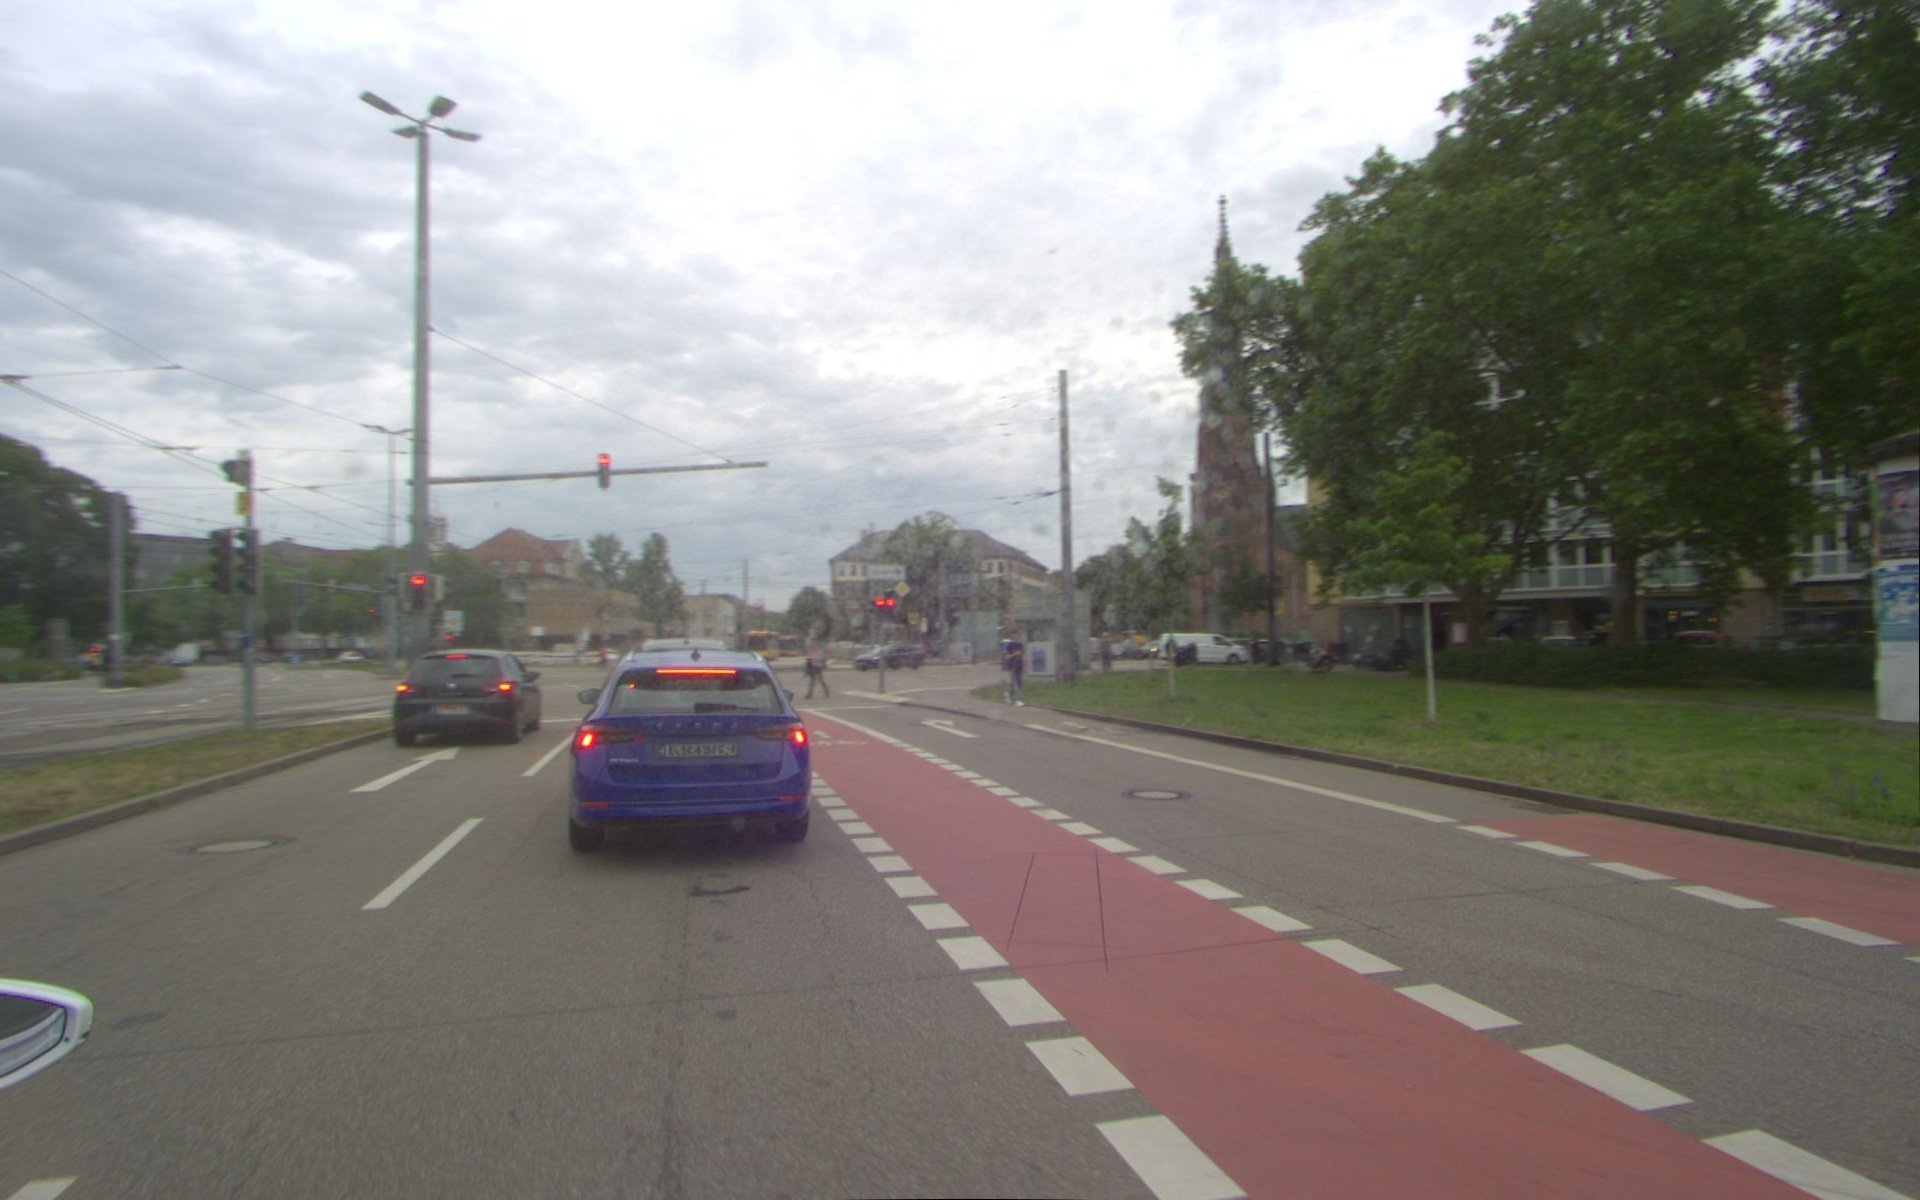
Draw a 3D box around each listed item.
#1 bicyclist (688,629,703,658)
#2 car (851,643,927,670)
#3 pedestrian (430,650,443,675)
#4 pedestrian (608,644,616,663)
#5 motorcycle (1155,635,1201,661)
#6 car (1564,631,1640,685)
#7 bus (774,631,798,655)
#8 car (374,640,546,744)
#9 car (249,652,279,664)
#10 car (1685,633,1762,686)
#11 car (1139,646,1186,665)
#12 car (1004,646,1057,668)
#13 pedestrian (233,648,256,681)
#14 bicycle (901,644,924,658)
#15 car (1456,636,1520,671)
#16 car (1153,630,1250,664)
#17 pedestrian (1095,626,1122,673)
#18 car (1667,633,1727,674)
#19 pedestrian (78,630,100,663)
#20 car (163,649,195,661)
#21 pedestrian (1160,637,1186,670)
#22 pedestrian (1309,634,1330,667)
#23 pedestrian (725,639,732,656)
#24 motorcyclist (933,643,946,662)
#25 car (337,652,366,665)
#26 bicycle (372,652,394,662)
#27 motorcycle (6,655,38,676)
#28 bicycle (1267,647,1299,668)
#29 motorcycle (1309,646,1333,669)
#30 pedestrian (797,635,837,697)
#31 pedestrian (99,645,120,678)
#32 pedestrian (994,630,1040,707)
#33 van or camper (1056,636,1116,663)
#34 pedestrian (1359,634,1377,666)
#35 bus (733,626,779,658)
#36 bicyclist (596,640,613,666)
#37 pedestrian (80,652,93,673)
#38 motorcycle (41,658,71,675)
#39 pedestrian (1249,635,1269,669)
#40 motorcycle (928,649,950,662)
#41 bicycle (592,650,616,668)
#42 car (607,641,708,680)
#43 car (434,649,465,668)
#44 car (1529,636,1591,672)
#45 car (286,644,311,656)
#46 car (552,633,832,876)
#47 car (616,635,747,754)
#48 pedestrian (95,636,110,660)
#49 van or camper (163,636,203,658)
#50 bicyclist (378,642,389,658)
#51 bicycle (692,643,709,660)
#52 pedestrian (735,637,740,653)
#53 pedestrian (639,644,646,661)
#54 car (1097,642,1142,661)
[{"bbox_3d":[-17.673,2.902,66.951,0.860,1.875,1.045,0,-2,-22],"label":"bicyclist"},{"bbox_3d":[-3.983,3.192,56.794,1.681,1.413,4.355,-2,-3,43],"label":"car"},{"bbox_3d":[-32.970,3.922,63.094,0.719,1.561,0.415,0,-2,-29],"label":"pedestrian"},{"bbox_3d":[-36.127,5.513,103.986,0.697,1.942,0.623,0,-2,-9],"label":"pedestrian"},{"bbox_3d":[10.021,2.212,46.017,2.358,1.183,0.761,2,-2,-38],"label":"motorcycle"},{"bbox_3d":[22.036,1.952,34.287,1.838,1.744,4.447,-2,-3,37],"label":"car"},{"bbox_3d":[-25.719,6.345,148.179,2.611,3.324,10.999,0,-2,-5],"label":"bus"},{"bbox_3d":[-7.911,1.386,16.194,1.679,1.467,3.809,0,-2,-14],"label":"car"},{"bbox_3d":[-95.216,7.925,136.946,3.938,1.482,1.775,-1,-2,28],"label":"car"},{"bbox_3d":[24.608,1.876,32.321,1.838,1.567,4.447,-2,-3,37],"label":"car"},{"bbox_3d":[17.492,4.756,86.391,4.433,1.567,1.844,2,-4,-44],"label":"car"},{"bbox_3d":[5.123,4.097,72.348,1.756,1.482,3.968,-4,-4,42],"label":"car"},{"bbox_3d":[-43.468,3.908,60.838,1.020,1.958,0.695,1,-2,-42],"label":"pedestrian"},{"bbox_3d":[-4.643,4.961,97.808,2.226,1.347,0.707,-1,-3,-10],"label":"bicycle"},{"bbox_3d":[23.967,2.391,45.378,1.838,1.508,4.447,-2,-3,37],"label":"car"},{"bbox_3d":[15.176,2.984,63.154,5.626,2.038,2.030,-1,-3,1],"label":"car"},{"bbox_3d":[6.311,2.099,42.621,0.875,1.955,1.014,-1,-2,25],"label":"pedestrian"},{"bbox_3d":[30.009,2.142,40.772,1.838,1.567,4.447,-2,-3,37],"label":"car"},{"bbox_3d":[-53.713,2.871,61.750,0.920,1.973,0.907,1,-2,-35],"label":"pedestrian"},{"bbox_3d":[-102.737,7.220,131.719,3.935,1.482,1.777,-2,-2,25],"label":"car"},{"bbox_3d":[11.780,2.957,55.408,1.076,1.819,0.939,-4,-4,42],"label":"pedestrian"},{"bbox_3d":[18.163,2.544,50.580,0.700,1.659,0.725,0,-2,-10],"label":"pedestrian"},{"bbox_3d":[-26.264,5.395,113.586,0.611,1.942,0.699,0,-2,-7],"label":"pedestrian"},{"bbox_3d":[-1.856,4.740,90.602,0.741,1.670,0.973,-3,-3,40],"label":"motorcyclist"},{"bbox_3d":[-71.820,6.876,118.106,3.954,1.482,1.768,-2,-3,41],"label":"car"},{"bbox_3d":[-75.962,7.501,131.749,0.925,1.193,2.729,-1,-2,12],"label":"bicycle"},{"bbox_3d":[-61.935,4.316,66.104,0.504,1.284,1.467,-1,-2,27],"label":"motorcycle"},{"bbox_3d":[14.797,2.645,45.928,1.252,0.929,0.590,-2,-3,43],"label":"bicycle"},{"bbox_3d":[15.697,2.491,43.544,0.858,1.010,1.014,-1,-2,15],"label":"motorcycle"},{"bbox_3d":[-4.537,2.095,31.755,0.725,1.931,1.100,-1,-3,31],"label":"pedestrian"},{"bbox_3d":[-52.951,3.846,62.352,0.920,2.038,1.005,1,-3,-37],"label":"pedestrian"},{"bbox_3d":[1.388,1.669,24.528,0.972,1.867,0.535,-1,-2,30],"label":"pedestrian"},{"bbox_3d":[10.005,3.888,79.092,2.171,2.038,5.115,-4,-4,42],"label":"van or camper"},{"bbox_3d":[21.382,2.616,52.449,0.630,1.659,0.781,-1,-2,39],"label":"pedestrian"},{"bbox_3d":[-21.172,4.393,104.491,2.912,3.162,11.545,0,-2,-2],"label":"bus"},{"bbox_3d":[-24.254,3.598,68.267,0.875,1.754,0.887,1,-2,-38],"label":"bicyclist"},{"bbox_3d":[-83.033,5.929,95.183,0.870,2.006,0.791,1,-3,-35],"label":"pedestrian"},{"bbox_3d":[-61.579,4.514,68.221,0.502,1.125,1.745,0,-2,-4],"label":"motorcycle"},{"bbox_3d":[14.677,2.547,49.085,0.630,1.659,0.865,-1,-2,40],"label":"pedestrian"},{"bbox_3d":[-1.893,4.989,90.569,0.735,1.153,2.125,-2,-3,40],"label":"motorcycle"},{"bbox_3d":[-24.274,4.013,68.257,0.884,1.193,2.285,1,-3,-38],"label":"bicycle"},{"bbox_3d":[-13.571,2.700,45.147,1.779,1.660,4.207,-2,-3,34],"label":"car"},{"bbox_3d":[-49.087,5.641,96.248,1.977,1.704,3.972,1,-4,-38],"label":"car"},{"bbox_3d":[26.128,2.319,43.536,1.838,1.508,4.447,-2,-3,37],"label":"car"},{"bbox_3d":[-87.358,6.558,132.227,3.954,1.482,1.768,-2,-3,41],"label":"car"},{"bbox_3d":[-2.323,1.088,8.679,1.753,1.507,4.461,0,-3,-16],"label":"car"},{"bbox_3d":[-4.501,1.391,16.057,1.752,1.617,4.503,0,-2,-17],"label":"car"},{"bbox_3d":[-72.055,4.040,84.161,0.871,2.006,0.790,-3,-3,38],"label":"pedestrian"},{"bbox_3d":[-113.608,6.891,146.335,5.414,3.163,2.389,-1,-2,25],"label":"van or camper"},{"bbox_3d":[-75.938,6.586,131.885,0.923,2.039,0.978,-1,-2,12],"label":"bicyclist"},{"bbox_3d":[-17.305,3.396,66.708,0.854,1.118,2.296,1,-2,-21],"label":"bicycle"},{"bbox_3d":[-25.689,5.202,115.675,0.612,1.942,0.710,0,-2,-14],"label":"pedestrian"},{"bbox_3d":[-35.871,5.899,113.115,0.612,1.942,0.710,0,-2,-14],"label":"pedestrian"},{"bbox_3d":[13.175,4.262,82.629,1.758,1.482,3.965,-4,-5,44],"label":"car"}]
